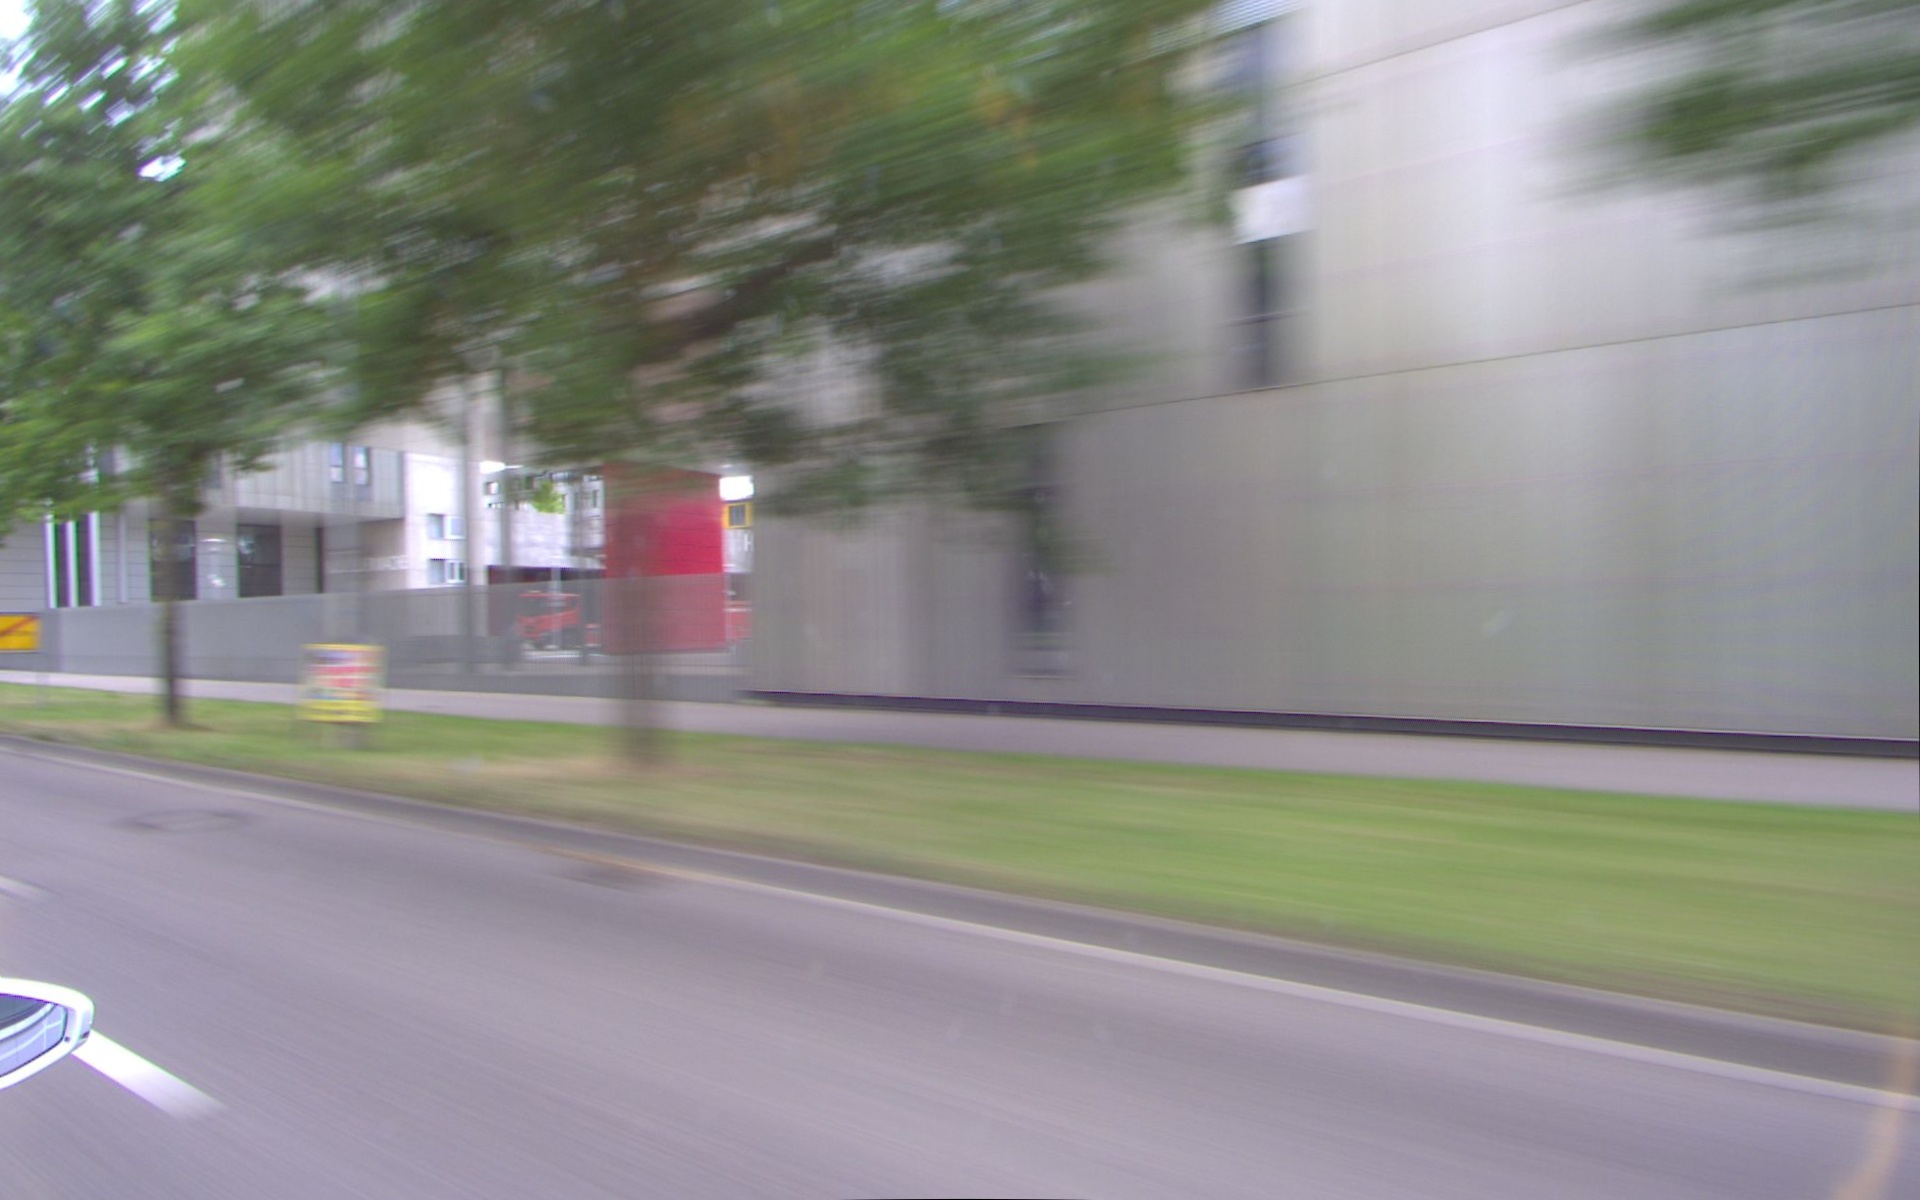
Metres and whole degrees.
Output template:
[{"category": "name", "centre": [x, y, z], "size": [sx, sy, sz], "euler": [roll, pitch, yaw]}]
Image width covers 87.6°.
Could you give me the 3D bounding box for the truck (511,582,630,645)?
[{"category": "truck", "centre": [-20.474, 0.809, 52.945], "size": [2.285, 3.107, 5.686], "euler": [-2, -3, 30]}]
